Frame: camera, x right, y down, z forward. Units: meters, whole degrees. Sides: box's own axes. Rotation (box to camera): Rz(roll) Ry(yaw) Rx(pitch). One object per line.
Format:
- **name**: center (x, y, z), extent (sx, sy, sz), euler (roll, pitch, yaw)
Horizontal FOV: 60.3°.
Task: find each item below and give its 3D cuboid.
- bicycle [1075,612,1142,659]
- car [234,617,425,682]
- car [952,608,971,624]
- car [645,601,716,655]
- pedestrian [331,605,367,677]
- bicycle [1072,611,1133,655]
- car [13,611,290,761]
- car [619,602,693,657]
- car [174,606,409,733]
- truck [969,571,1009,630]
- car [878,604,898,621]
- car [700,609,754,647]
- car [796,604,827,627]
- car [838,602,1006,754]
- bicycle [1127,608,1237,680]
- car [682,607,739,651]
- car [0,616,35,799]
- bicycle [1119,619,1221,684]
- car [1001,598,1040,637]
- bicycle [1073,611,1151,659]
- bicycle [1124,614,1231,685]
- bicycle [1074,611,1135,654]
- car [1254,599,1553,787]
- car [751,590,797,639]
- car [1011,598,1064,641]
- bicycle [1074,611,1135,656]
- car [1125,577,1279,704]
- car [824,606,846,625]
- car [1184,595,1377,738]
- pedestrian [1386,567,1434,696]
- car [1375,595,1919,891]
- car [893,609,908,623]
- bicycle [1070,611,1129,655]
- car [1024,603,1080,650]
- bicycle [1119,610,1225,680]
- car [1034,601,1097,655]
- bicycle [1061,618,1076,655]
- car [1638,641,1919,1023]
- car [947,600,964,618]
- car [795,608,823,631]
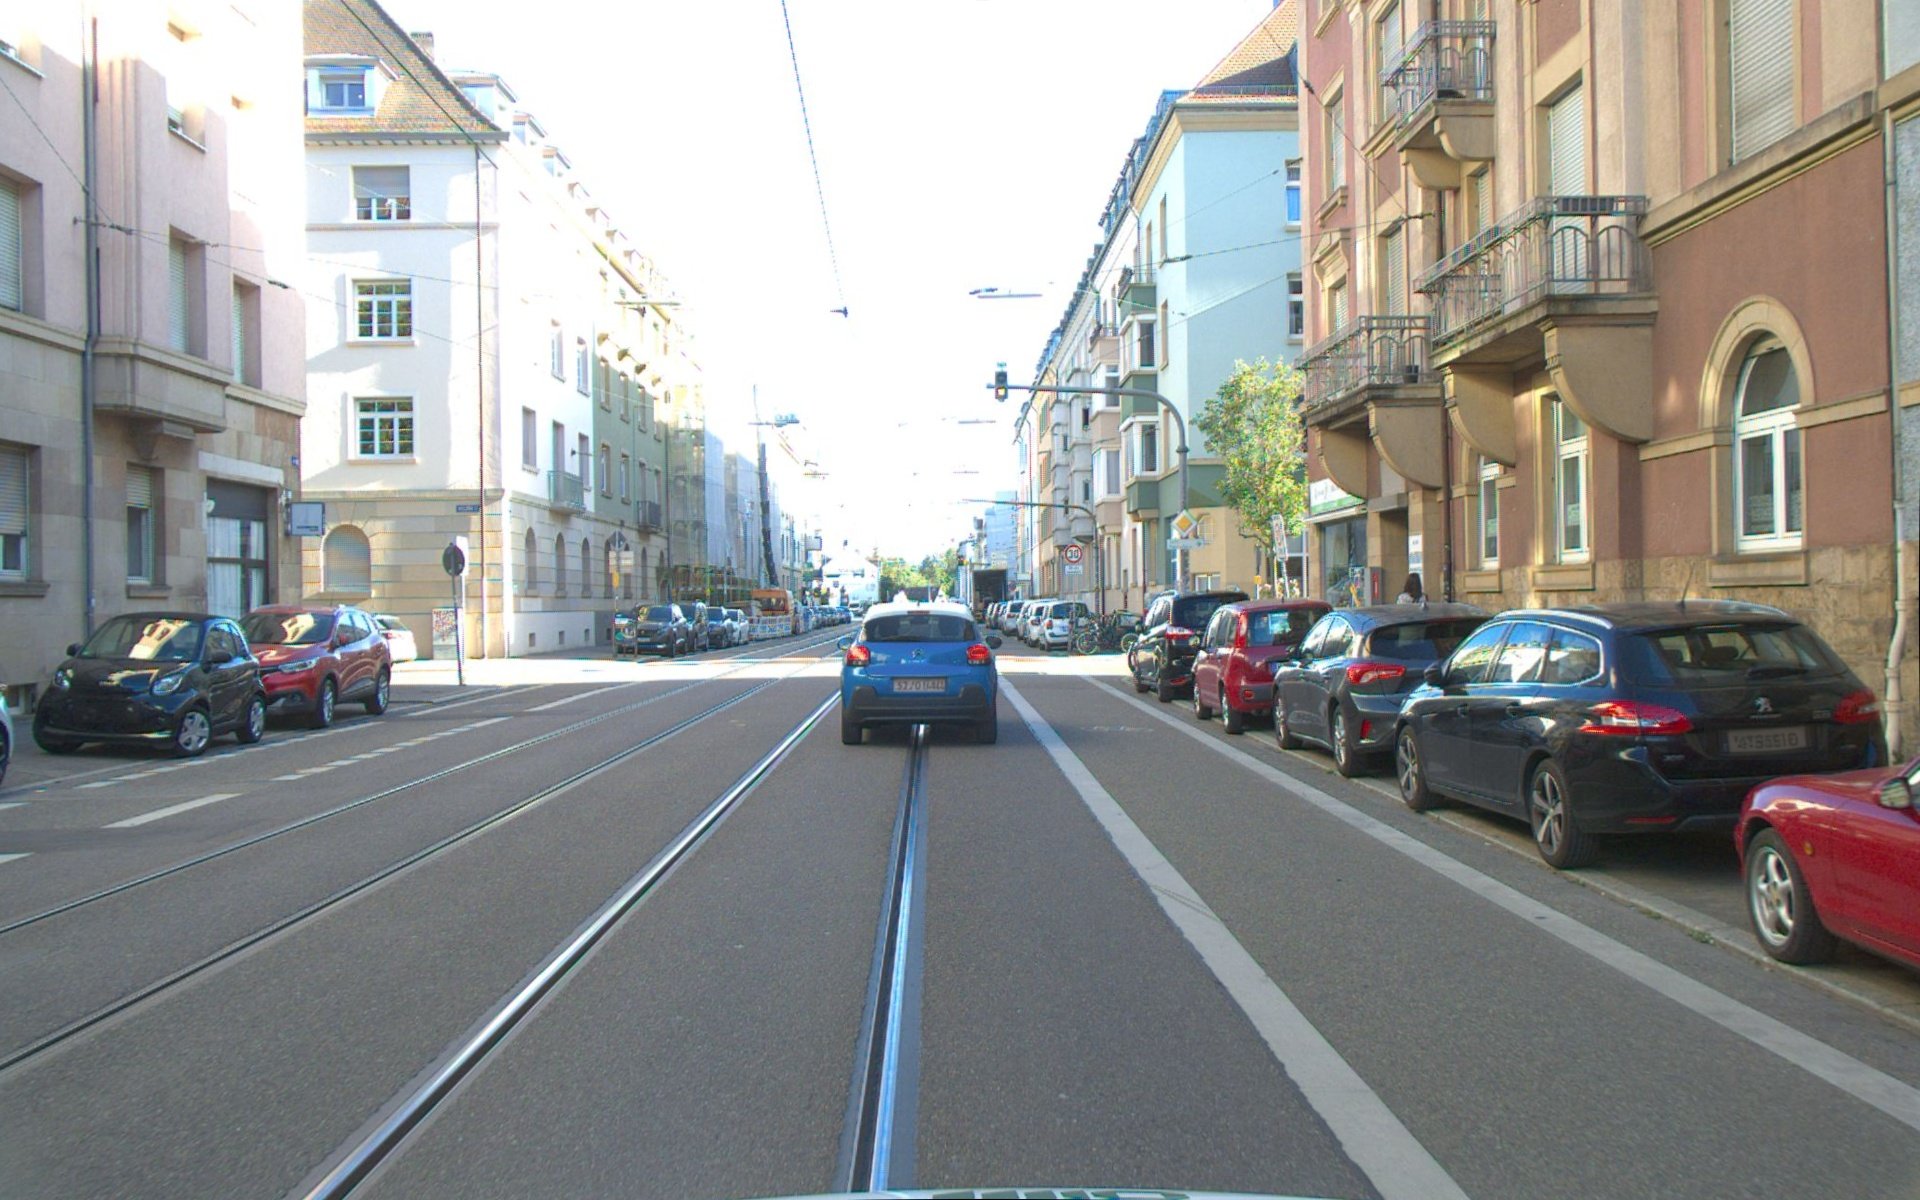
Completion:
- **bicycle**: center (4.243, 1.008, 47.297), extent (1.805, 1.174, 0.469), euler (-5, 0, -1)
- **car**: center (-16.024, 1.246, 42.186), extent (4.132, 1.490, 1.782), euler (-1, 1, -2)
- **car**: center (0.118, 1.518, 158.628), extent (1.729, 1.513, 4.031), euler (-1, 0, -1)
- **car**: center (-10.031, 0.959, 59.655), extent (1.746, 1.848, 4.528), euler (1, 0, 0)
- **pedestrian**: center (-15.082, 0.995, 40.830), extent (0.594, 1.742, 0.731), euler (-1, 0, -1)
- **bicycle**: center (4.215, 0.983, 49.081), extent (1.688, 1.174, 0.469), euler (-5, 0, -1)
- **car**: center (-9.291, 0.933, 19.269), extent (1.747, 1.580, 3.018), euler (1, 0, -1)
- **car**: center (-9.926, 0.933, 54.230), extent (1.747, 1.720, 4.665), euler (1, 0, -3)
- **car**: center (-9.457, 0.916, 23.785), extent (1.747, 1.634, 4.395), euler (1, 0, -3)
- **truck**: center (2.117, 0.052, 125.332), extent (2.794, 4.154, 11.270), euler (-1, 0, 0)
- **car**: center (-7.040, 1.245, 162.898), extent (1.789, 1.660, 4.489), euler (-1, 0, -1)
- **car**: center (-10.073, 1.187, 71.778), extent (1.683, 1.529, 4.388), euler (1, 0, 1)
- **car**: center (-11.664, 1.190, 129.782), extent (2.101, 1.650, 3.999), euler (-2, 0, -1)
- **car**: center (-0.407, 0.801, 18.891), extent (1.699, 1.534, 3.992), euler (1, 0, -1)
- **bicycle**: center (4.105, 0.808, 30.639), extent (1.919, 1.248, 0.527), euler (-2, 0, -1)
- **car**: center (-9.897, 1.135, 65.876), extent (1.747, 1.655, 4.606), euler (1, 0, -3)
- **car**: center (-9.455, 0.961, 13.362), extent (1.747, 1.650, 4.177), euler (1, 0, -3)
- **bicycle**: center (4.098, 0.998, 32.350), extent (1.884, 1.181, 0.527), euler (-2, 0, -1)
- **car**: center (3.030, 0.851, 83.309), extent (1.695, 1.859, 4.685), euler (-1, 0, -1)
- **bicycle**: center (4.272, 0.981, 46.610), extent (2.044, 1.174, 0.848), euler (-4, 0, -1)
- **bicycle**: center (4.095, 0.921, 31.210), extent (1.919, 1.248, 0.527), euler (-2, 0, -1)
- **bicycle**: center (4.342, 0.974, 49.763), extent (1.688, 1.174, 0.469), euler (-5, 0, -1)
- **car**: center (4.102, 0.779, 16.056), extent (1.620, 1.539, 4.473), euler (-1, 0, -1)
- **car**: center (-9.961, 0.770, 88.870), extent (2.102, 2.519, 4.977), euler (-2, 0, -3)
- **car**: center (3.312, 0.825, 71.228), extent (1.622, 1.782, 4.598), euler (-1, 0, -5)
- **bicycle**: center (4.239, 0.982, 48.534), extent (1.688, 1.174, 0.469), euler (-5, 0, -1)
- **car**: center (3.839, 0.609, 26.957), extent (1.718, 1.766, 4.506), euler (-4, 0, 0)
- **car**: center (-11.787, 1.453, 155.626), extent (1.789, 1.660, 3.904), euler (-1, 0, -1)
- **car**: center (3.946, 0.769, 20.916), extent (1.717, 1.622, 3.729), euler (-1, 0, 0)
- **pedestrian**: center (6.105, 0.425, 22.448), extent (0.502, 1.716, 0.448), euler (-1, 0, -1)
- **car**: center (4.175, 0.749, 10.876), extent (1.621, 1.509, 4.472), euler (-1, 0, -2)
- **car**: center (-7.587, 2.020, 212.140), extent (1.789, 1.660, 4.489), euler (-1, 0, -1)
- **bicycle**: center (4.254, 1.005, 50.383), extent (1.688, 1.174, 0.469), euler (-5, 0, -1)
- **car**: center (3.306, 0.943, 60.125), extent (1.747, 1.603, 4.325), euler (-1, 0, -1)
- **bicycle**: center (4.066, 0.863, 31.771), extent (1.919, 1.248, 0.527), euler (-2, 0, -1)
- **car**: center (3.429, 0.882, 54.290), extent (1.747, 1.660, 3.999), euler (-1, 0, -1)
- **bicycle**: center (3.245, 1.084, 49.543), extent (0.345, 1.063, 1.728), euler (-1, 0, 1)
- **car**: center (4.226, 0.855, 6.178), extent (1.620, 1.271, 4.505), euler (-1, 0, 1)
- **car**: center (-0.642, 1.208, 217.348), extent (2.174, 2.324, 4.083), euler (-1, 0, -1)
- **car**: center (-11.099, 1.417, 121.951), extent (1.679, 1.622, 4.266), euler (-1, 0, -1)
